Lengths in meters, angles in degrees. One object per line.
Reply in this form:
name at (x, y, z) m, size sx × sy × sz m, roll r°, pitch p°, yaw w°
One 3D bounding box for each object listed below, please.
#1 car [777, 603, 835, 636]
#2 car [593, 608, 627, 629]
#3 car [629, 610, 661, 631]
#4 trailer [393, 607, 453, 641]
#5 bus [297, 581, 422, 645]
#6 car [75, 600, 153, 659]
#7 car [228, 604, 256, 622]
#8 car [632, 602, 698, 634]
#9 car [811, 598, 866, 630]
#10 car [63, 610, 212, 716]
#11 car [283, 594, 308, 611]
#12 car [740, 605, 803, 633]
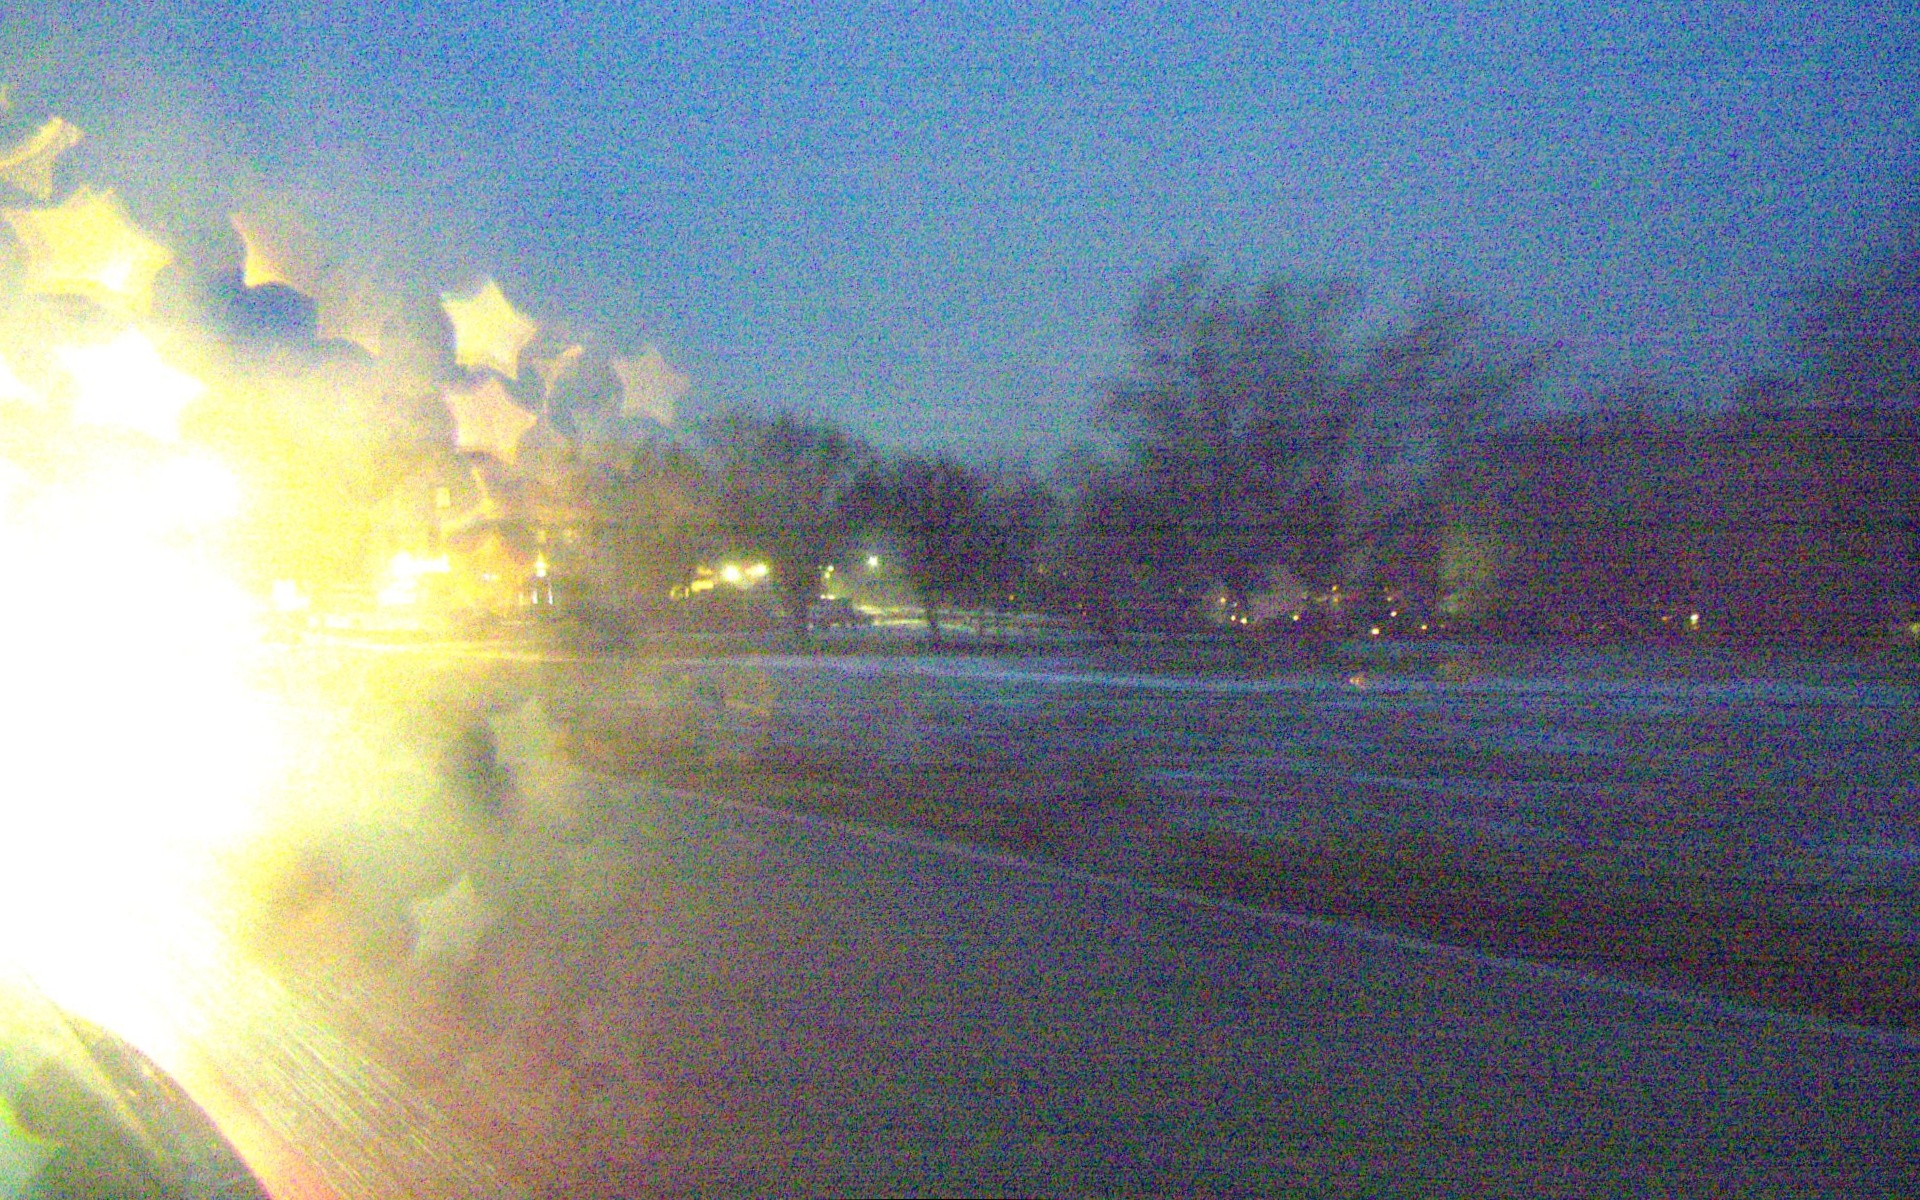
car at (-11.025, 1.348, 72.484) m, size 3.997 × 2.071 × 1.974 m, roll 2°, pitch 4°, yaw 40°
car at (-29.461, 1.555, 85.264) m, size 1.832 × 1.408 × 4.046 m, roll 2°, pitch 3°, yaw -6°
car at (-26.507, 1.716, 85.300) m, size 1.832 × 1.408 × 4.046 m, roll 2°, pitch 3°, yaw -6°
trailer at (-27.986, 1.264, 52.685) m, size 1.790 × 1.690 × 4.106 m, roll 2°, pitch -2°, yaw -42°
bus at (-40.101, 0.736, 67.249) m, size 13.047 × 3.897 × 2.864 m, roll 1°, pitch 2°, yaw 40°
car at (-32.033, 1.127, 38.257) m, size 1.970 × 2.028 × 4.850 m, roll -3°, pitch 0°, yaw -43°
car at (-61.987, 1.106, 87.430) m, size 1.612 × 1.522 × 4.129 m, roll 2°, pitch -2°, yaw -31°
car at (-18.787, 1.097, 64.327) m, size 4.628 × 1.709 × 1.916 m, roll 2°, pitch 4°, yaw 43°
car at (-8.897, 0.989, 73.915) m, size 3.997 × 2.071 × 1.741 m, roll 2°, pitch 4°, yaw 40°
car at (-13.626, 0.953, 16.680) m, size 1.616 × 1.521 × 4.100 m, roll 1°, pitch -2°, yaw -43°
car at (-68.441, 0.257, 104.333) m, size 1.671 × 1.611 × 3.813 m, roll 0°, pitch 1°, yaw -26°
car at (-13.108, 1.284, 70.338) m, size 4.628 × 1.709 × 1.916 m, roll 2°, pitch 4°, yaw 43°
